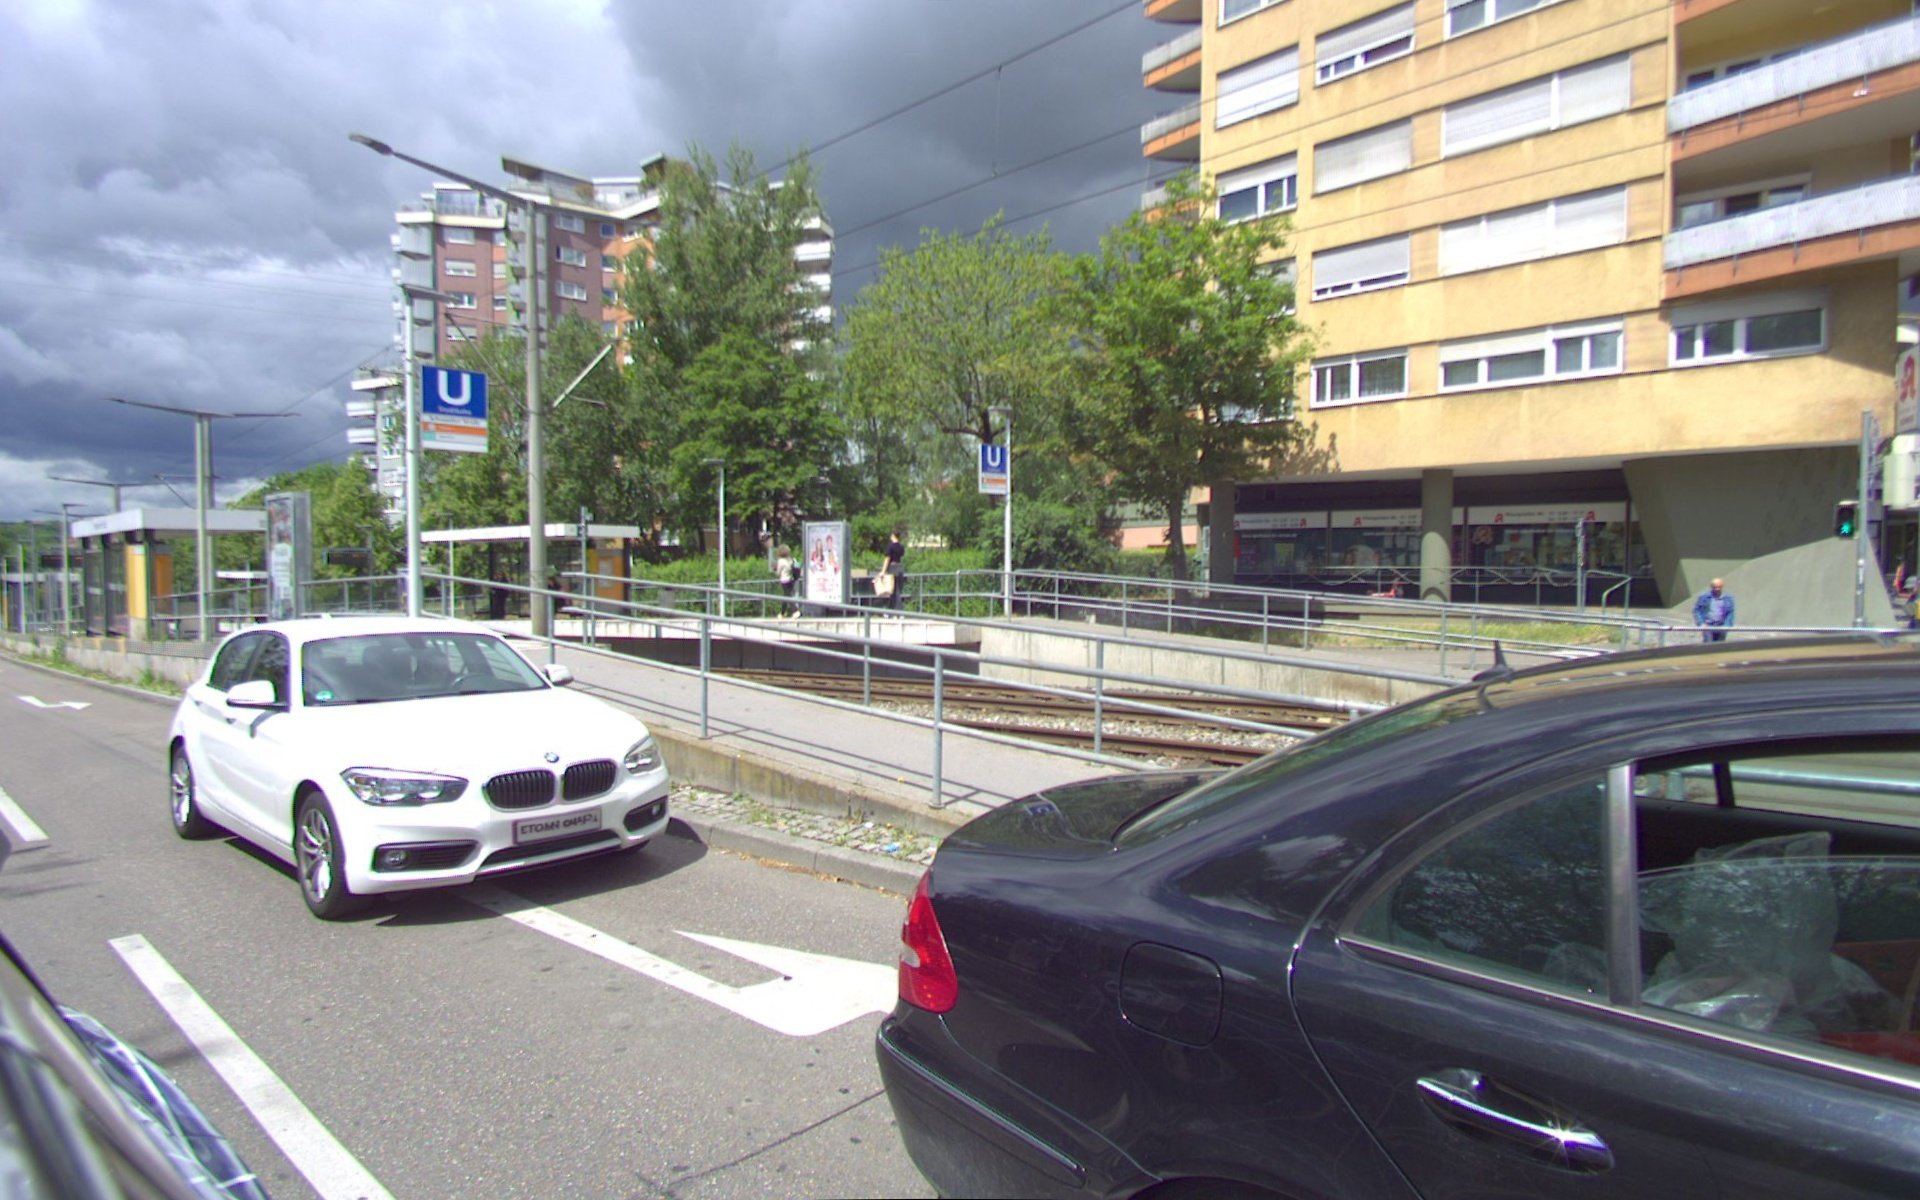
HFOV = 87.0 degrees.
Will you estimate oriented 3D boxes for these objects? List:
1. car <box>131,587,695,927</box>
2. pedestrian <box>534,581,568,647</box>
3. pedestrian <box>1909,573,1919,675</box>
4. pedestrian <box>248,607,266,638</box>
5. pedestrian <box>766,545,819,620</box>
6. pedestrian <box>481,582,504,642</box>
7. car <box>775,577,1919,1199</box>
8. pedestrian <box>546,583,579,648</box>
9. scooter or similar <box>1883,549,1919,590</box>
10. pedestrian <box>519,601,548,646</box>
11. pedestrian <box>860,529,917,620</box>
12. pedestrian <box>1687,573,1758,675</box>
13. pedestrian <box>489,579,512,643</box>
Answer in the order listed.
[{"bbox_3d":[-3.683,0.801,6.458,4.273,1.462,1.770,-4,-4,41],"label":"car"},{"bbox_3d":[-12.777,0.424,31.610,0.584,2.029,0.770,-1,0,41],"label":"pedestrian"},{"bbox_3d":[14.892,0.355,15.371,0.649,1.525,0.711,-1,2,41],"label":"pedestrian"},{"bbox_3d":[-39.708,1.257,57.173,0.763,1.718,0.767,-1,0,-41],"label":"pedestrian"},{"bbox_3d":[-3.675,-0.375,22.241,0.747,1.618,0.854,-1,0,40],"label":"pedestrian"},{"bbox_3d":[-16.024,0.419,34.689,0.557,2.029,0.510,-1,0,41],"label":"pedestrian"},{"bbox_3d":[1.994,0.668,1.275,4.674,1.409,1.950,-1,0,42],"label":"car"},{"bbox_3d":[-12.122,0.469,30.861,0.572,1.946,0.761,-1,0,39],"label":"pedestrian"},{"bbox_3d":[26.349,-0.830,28.341,0.544,1.102,1.731,-1,0,36],"label":"scooter or similar"},{"bbox_3d":[-13.676,0.742,32.460,0.658,1.425,0.637,-1,0,41],"label":"pedestrian"},{"bbox_3d":[-1.446,-0.499,20.435,0.747,1.787,0.854,-1,0,40],"label":"pedestrian"},{"bbox_3d":[12.768,0.386,16.963,0.909,1.609,0.712,-1,5,37],"label":"pedestrian"},{"bbox_3d":[-15.561,0.371,34.264,0.608,2.157,0.525,-1,0,44],"label":"pedestrian"}]
